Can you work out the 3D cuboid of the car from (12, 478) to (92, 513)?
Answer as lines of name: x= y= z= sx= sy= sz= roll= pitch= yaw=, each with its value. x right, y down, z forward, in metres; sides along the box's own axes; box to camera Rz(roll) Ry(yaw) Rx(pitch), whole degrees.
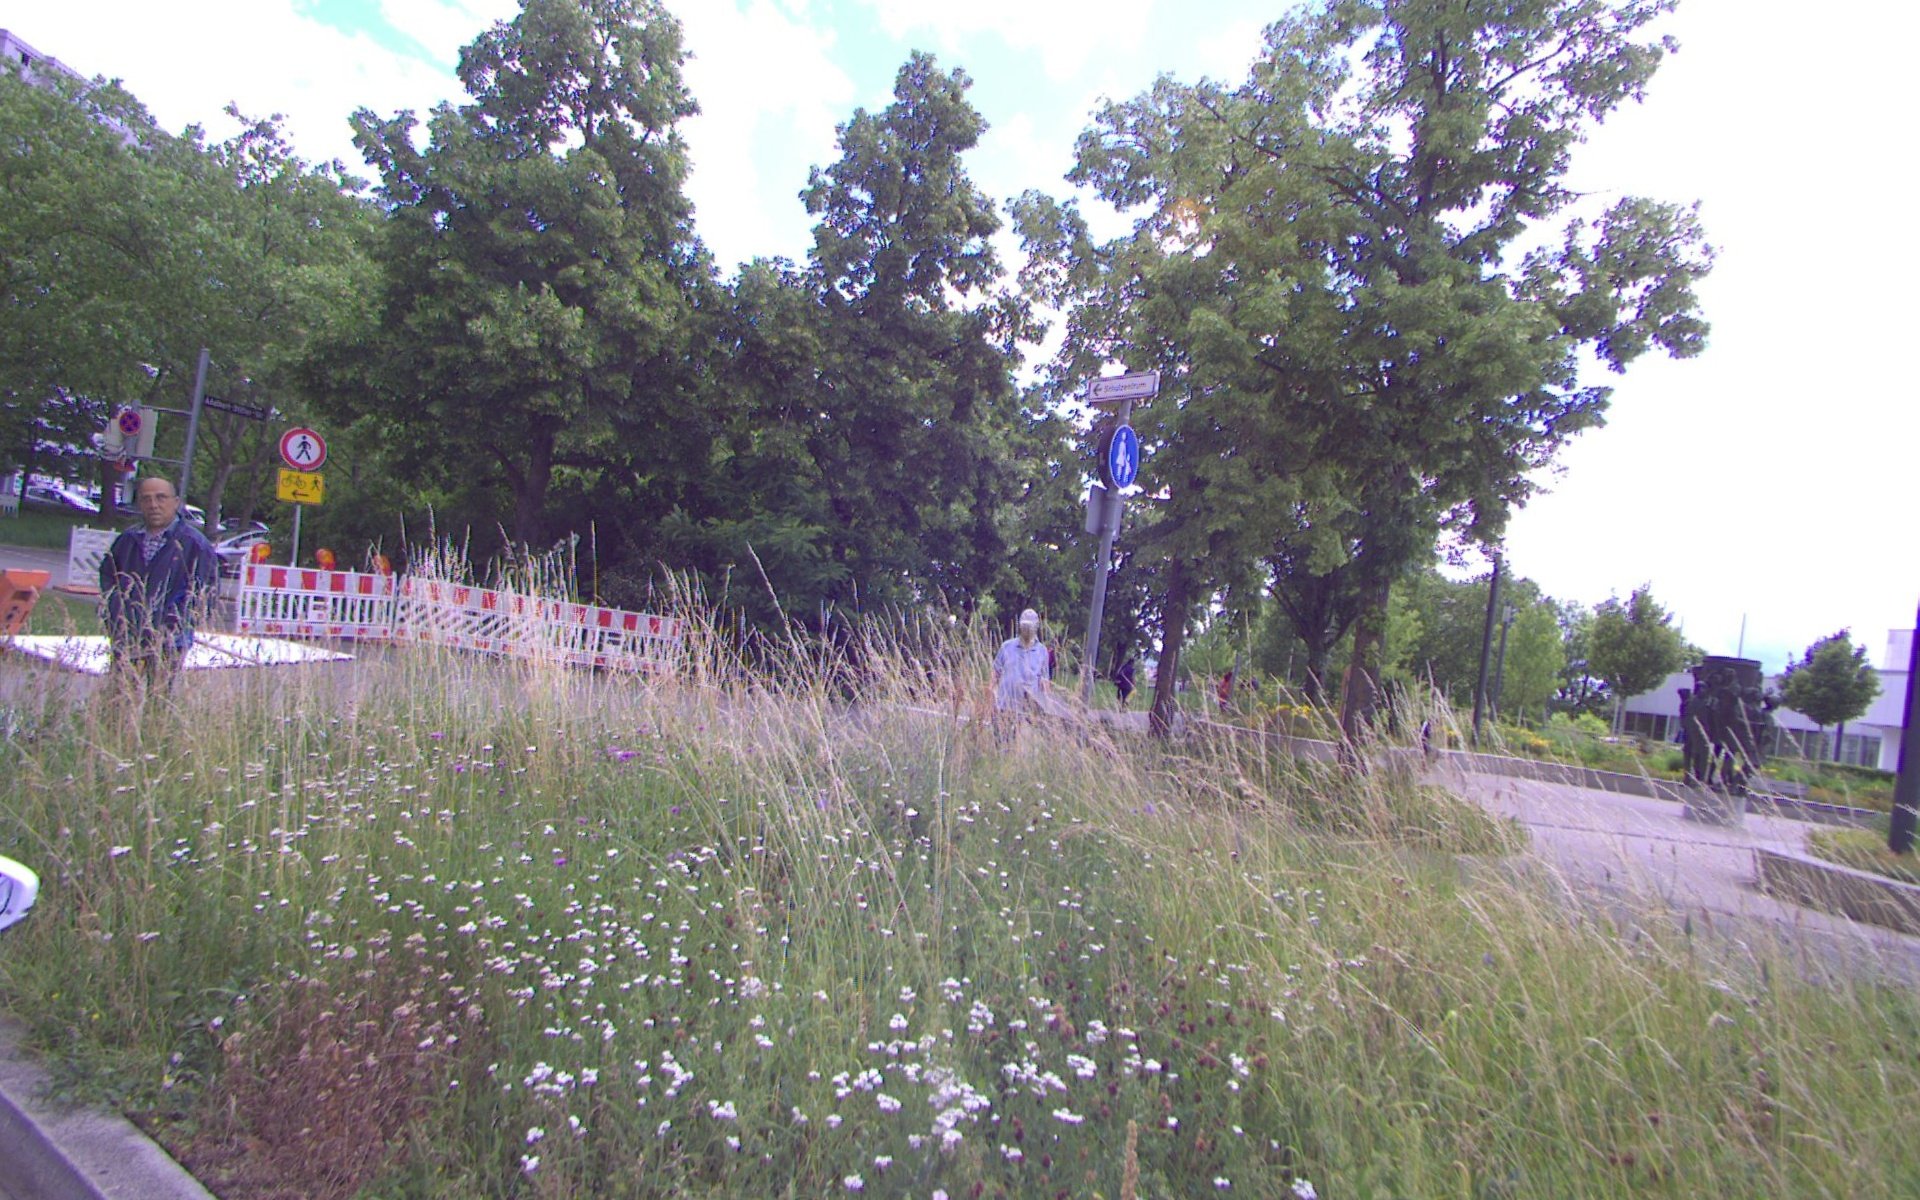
car: x=-54.435 y=-6.249 z=60.325 sx=3.345 sy=1.420 sz=1.486 roll=7 pitch=-2 yaw=1

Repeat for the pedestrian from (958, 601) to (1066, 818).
pedestrian: x=0.485 y=0.967 z=9.143 sx=0.715 sy=1.812 sz=0.694 roll=8 pitch=0 yaw=5

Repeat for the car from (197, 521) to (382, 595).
car: x=-20.956 y=-1.265 z=31.617 sx=1.744 sy=1.604 sz=4.405 roll=6 pitch=-2 yaw=33

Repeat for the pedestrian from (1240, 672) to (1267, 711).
pedestrian: x=13.771 y=4.292 z=47.183 sx=0.974 sy=1.671 sz=0.871 roll=7 pitch=0 yaw=21

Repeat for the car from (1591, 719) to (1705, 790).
car: x=22.788 y=5.079 z=33.468 sx=1.606 sy=1.786 sz=3.509 roll=7 pitch=-2 yaw=9

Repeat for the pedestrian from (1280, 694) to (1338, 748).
pedestrian: x=7.184 y=2.489 z=20.724 sx=0.703 sy=0.959 sz=0.747 roll=8 pitch=-1 yaw=-21

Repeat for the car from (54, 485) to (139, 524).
car: x=-54.454 y=-5.991 z=63.458 sx=3.751 sy=1.653 sz=1.674 roll=9 pitch=-1 yaw=1

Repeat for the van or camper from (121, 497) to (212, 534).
van or camper: x=-44.515 y=-4.727 z=56.491 sx=3.706 sy=1.372 sz=1.519 roll=8 pitch=-2 yaw=-1

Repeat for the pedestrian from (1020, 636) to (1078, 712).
pedestrian: x=2.146 y=1.779 z=24.151 sx=0.974 sy=1.671 sz=0.871 roll=7 pitch=0 yaw=21

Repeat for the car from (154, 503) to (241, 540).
car: x=-44.629 y=-4.596 z=58.894 sx=3.820 sy=1.482 sz=1.486 roll=7 pitch=-1 yaw=1

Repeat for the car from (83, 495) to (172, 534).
car: x=-43.766 y=-4.493 z=52.936 sx=3.345 sy=1.420 sz=1.486 roll=7 pitch=-2 yaw=2

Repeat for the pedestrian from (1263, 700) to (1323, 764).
pedestrian: x=5.203 y=2.046 z=15.700 sx=0.685 sy=0.874 sz=0.651 roll=7 pitch=0 yaw=28

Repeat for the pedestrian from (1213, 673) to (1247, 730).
pedestrian: x=7.620 y=2.863 z=28.379 sx=0.624 sy=1.519 sz=0.704 roll=7 pitch=0 yaw=29

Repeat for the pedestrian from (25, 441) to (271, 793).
pedestrian: x=-4.517 y=0.100 z=5.685 sx=0.720 sy=1.761 sz=0.949 roll=8 pitch=-1 yaw=-27

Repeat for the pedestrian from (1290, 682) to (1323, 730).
pedestrian: x=13.140 y=3.998 z=38.125 sx=0.974 sy=1.671 sz=0.871 roll=7 pitch=0 yaw=21

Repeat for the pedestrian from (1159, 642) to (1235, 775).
pedestrian: x=3.311 y=1.499 z=14.022 sx=0.685 sy=1.715 sz=0.651 roll=7 pitch=0 yaw=28

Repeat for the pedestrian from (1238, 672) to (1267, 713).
pedestrian: x=12.915 y=4.073 z=44.366 sx=0.974 sy=1.671 sz=0.871 roll=7 pitch=0 yaw=21

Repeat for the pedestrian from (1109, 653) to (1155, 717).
pedestrian: x=4.949 y=2.436 z=28.921 sx=0.974 sy=1.671 sz=0.871 roll=7 pitch=0 yaw=21

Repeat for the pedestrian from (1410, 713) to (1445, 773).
pedestrian: x=10.766 y=3.288 z=23.179 sx=0.560 sy=1.277 sz=0.582 roll=7 pitch=-1 yaw=29

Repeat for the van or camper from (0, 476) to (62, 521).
van or camper: x=-44.302 y=-4.846 z=46.495 sx=3.925 sy=1.704 sz=1.847 roll=8 pitch=-1 yaw=4

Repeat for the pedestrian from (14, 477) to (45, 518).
pedestrian: x=-50.198 y=-5.546 z=54.267 sx=0.838 sy=2.025 sz=0.806 roll=7 pitch=-1 yaw=28
